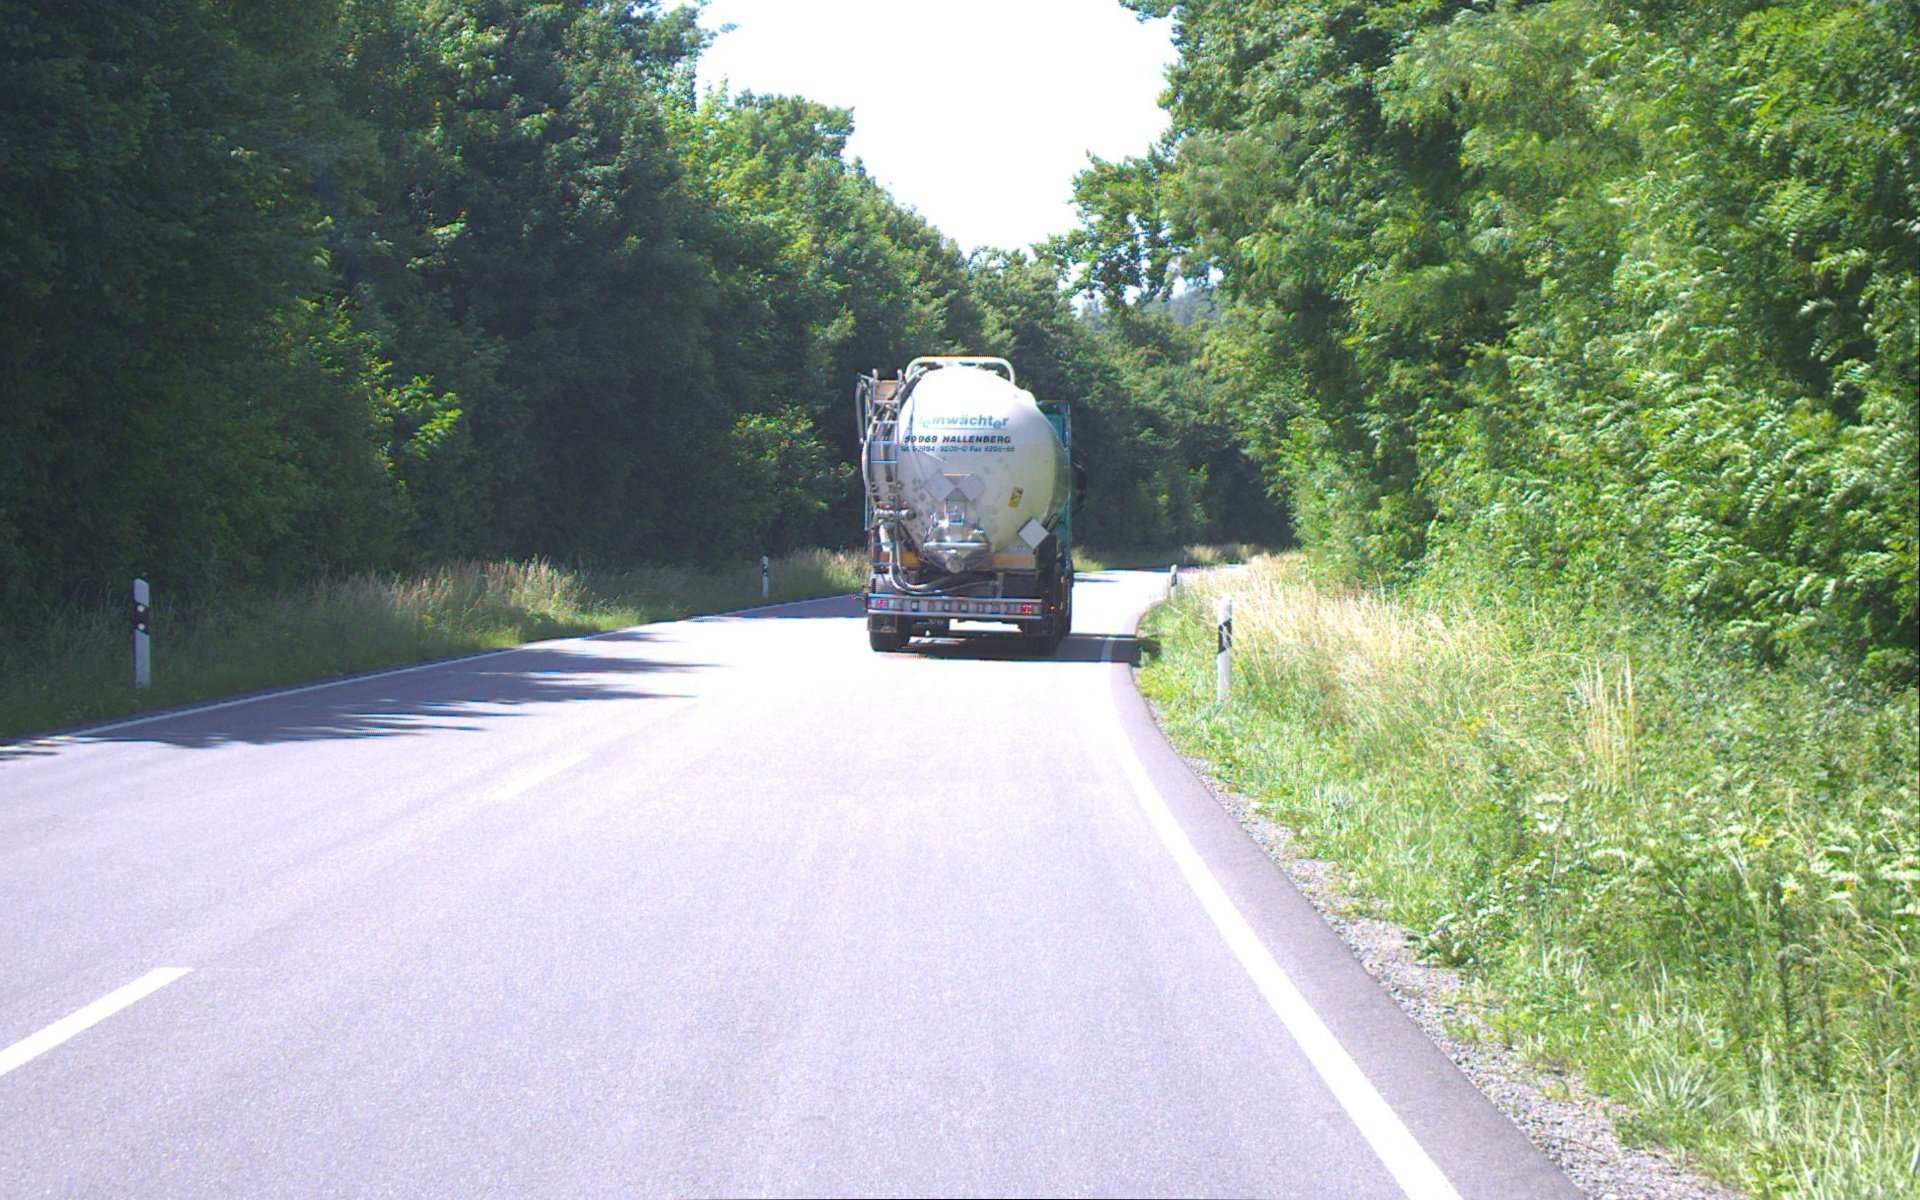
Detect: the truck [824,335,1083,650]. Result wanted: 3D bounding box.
[{"bbox_3d":[0.194,-1.523,51.658,3.049,3.984,15.636,1,1,3],"label":"truck"}]
